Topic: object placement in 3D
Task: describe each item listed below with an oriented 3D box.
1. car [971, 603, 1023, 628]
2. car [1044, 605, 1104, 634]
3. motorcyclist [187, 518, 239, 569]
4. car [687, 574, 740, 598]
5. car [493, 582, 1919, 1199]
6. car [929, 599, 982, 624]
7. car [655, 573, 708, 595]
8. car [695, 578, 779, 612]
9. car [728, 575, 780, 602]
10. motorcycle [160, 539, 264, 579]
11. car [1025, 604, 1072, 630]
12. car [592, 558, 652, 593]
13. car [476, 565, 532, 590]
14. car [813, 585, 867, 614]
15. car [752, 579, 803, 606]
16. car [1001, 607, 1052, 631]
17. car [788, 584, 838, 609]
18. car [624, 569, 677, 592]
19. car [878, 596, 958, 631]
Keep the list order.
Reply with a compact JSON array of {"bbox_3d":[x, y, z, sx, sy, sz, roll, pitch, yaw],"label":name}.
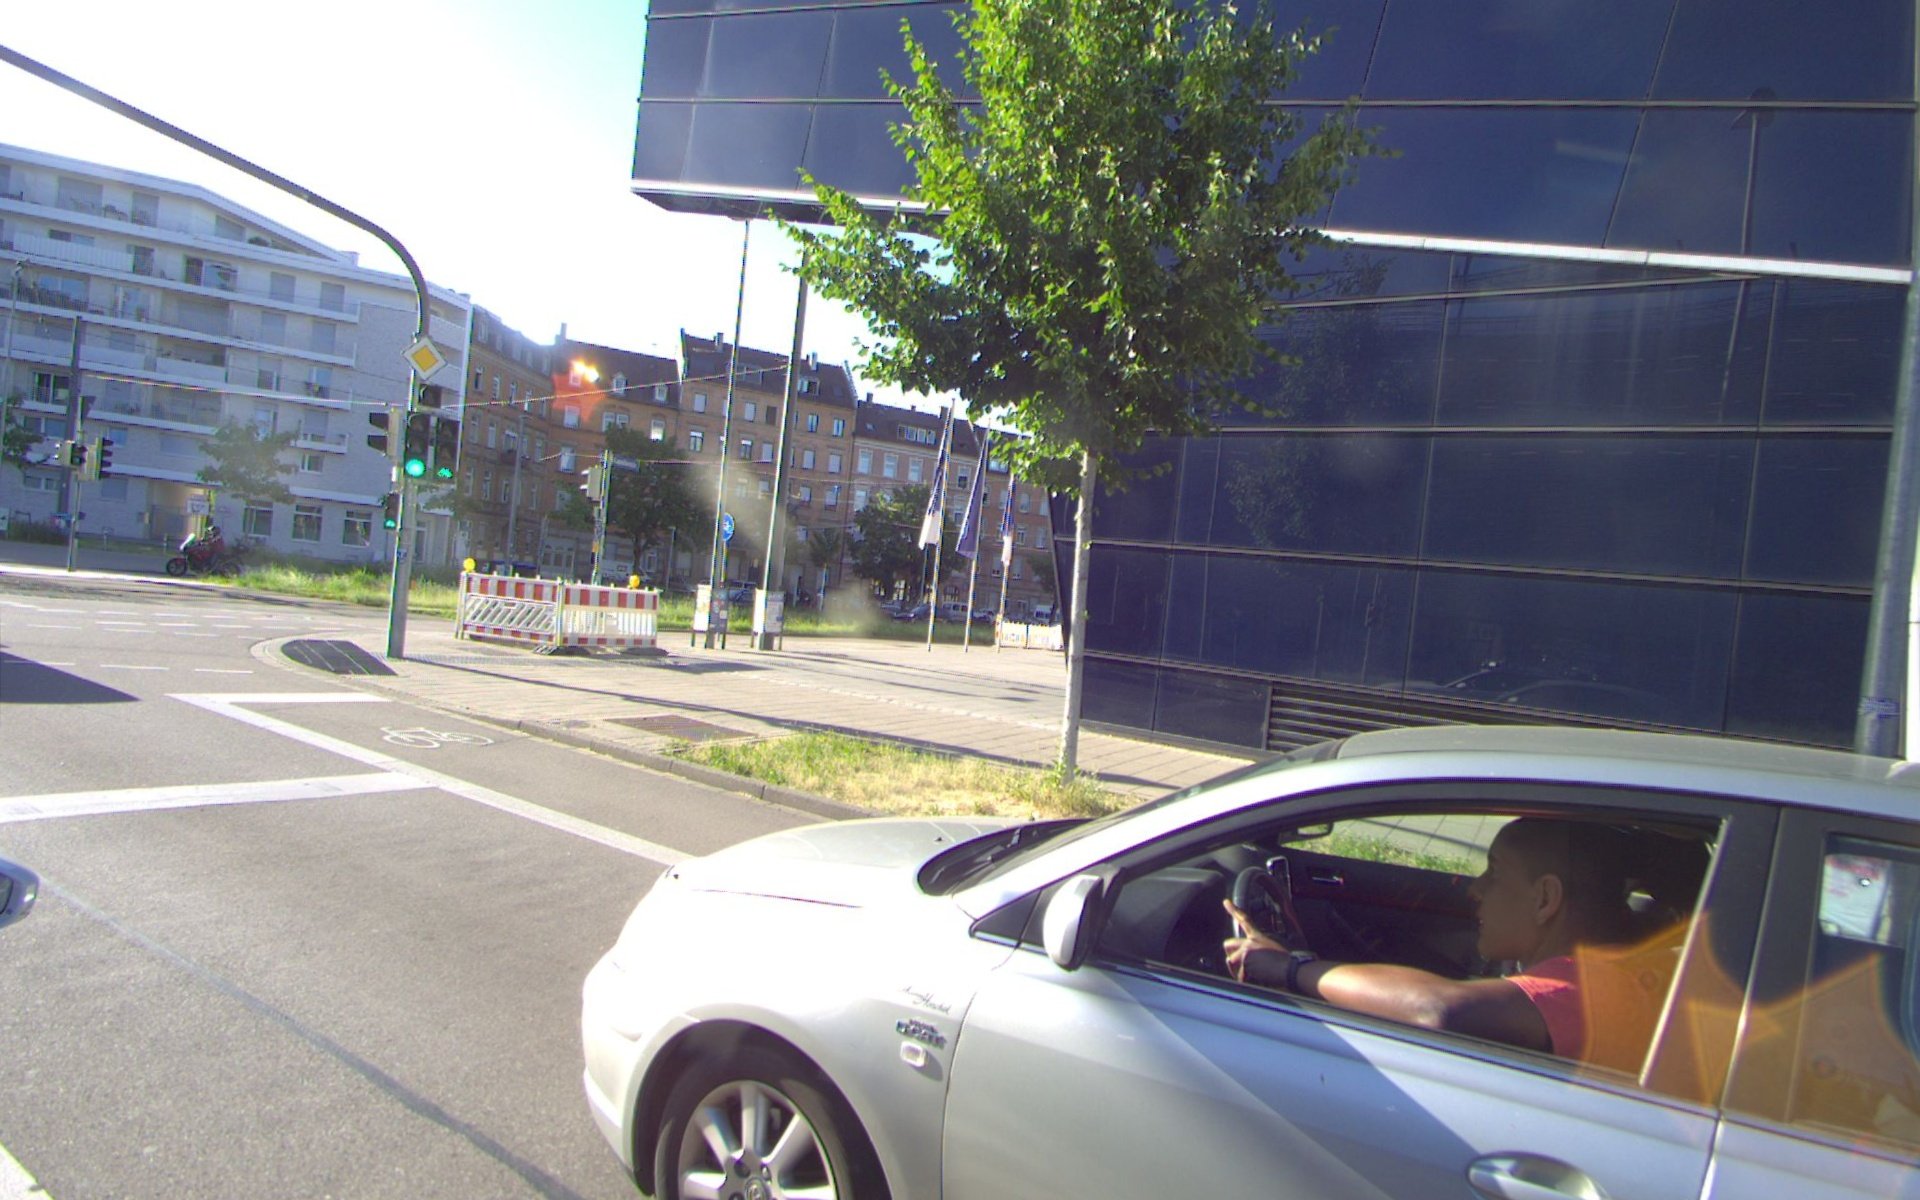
[{"bbox_3d":[3.219,1.380,87.489,3.934,1.794,1.995,5,1,31],"label":"car"},{"bbox_3d":[8.237,1.422,72.413,4.071,1.638,1.976,6,0,-42],"label":"car"},{"bbox_3d":[-24.627,-1.859,33.164,1.152,1.500,0.925,6,1,32],"label":"motorcyclist"},{"bbox_3d":[-19.172,-1.071,78.120,3.944,1.505,1.990,5,0,41],"label":"car"},{"bbox_3d":[1.347,0.951,1.948,4.551,1.500,1.748,6,0,31],"label":"car"},{"bbox_3d":[-0.376,0.985,85.809,3.934,1.794,1.995,5,1,31],"label":"car"},{"bbox_3d":[-21.268,-1.218,76.883,3.944,1.371,1.990,5,0,41],"label":"car"},{"bbox_3d":[-11.258,-0.224,50.955,1.740,1.417,4.248,2,-2,29],"label":"car"},{"bbox_3d":[-16.306,-0.916,79.492,3.944,1.794,1.990,5,1,41],"label":"car"},{"bbox_3d":[-24.655,-1.345,33.215,1.152,1.013,2.455,6,0,31],"label":"motorcycle"},{"bbox_3d":[8.784,1.716,100.119,4.126,2.217,1.992,5,1,-19],"label":"car"},{"bbox_3d":[-27.994,-2.019,83.304,4.537,2.339,1.991,6,0,-20],"label":"car"},{"bbox_3d":[-32.784,-1.624,72.447,1.962,1.505,4.000,5,0,3],"label":"car"},{"bbox_3d":[-10.870,-0.062,91.374,4.353,2.217,1.989,5,1,-24],"label":"car"},{"bbox_3d":[-15.009,-0.628,82.579,3.946,1.794,1.989,5,1,42],"label":"car"},{"bbox_3d":[5.936,1.698,89.579,3.934,1.794,1.995,5,1,31],"label":"car"},{"bbox_3d":[-12.459,-0.322,85.338,3.944,1.794,1.990,5,1,41],"label":"car"},{"bbox_3d":[-23.221,-1.473,75.456,3.944,1.371,1.990,5,0,41],"label":"car"},{"bbox_3d":[-2.543,0.832,61.971,4.505,1.637,1.979,7,-1,-38],"label":"car"}]
